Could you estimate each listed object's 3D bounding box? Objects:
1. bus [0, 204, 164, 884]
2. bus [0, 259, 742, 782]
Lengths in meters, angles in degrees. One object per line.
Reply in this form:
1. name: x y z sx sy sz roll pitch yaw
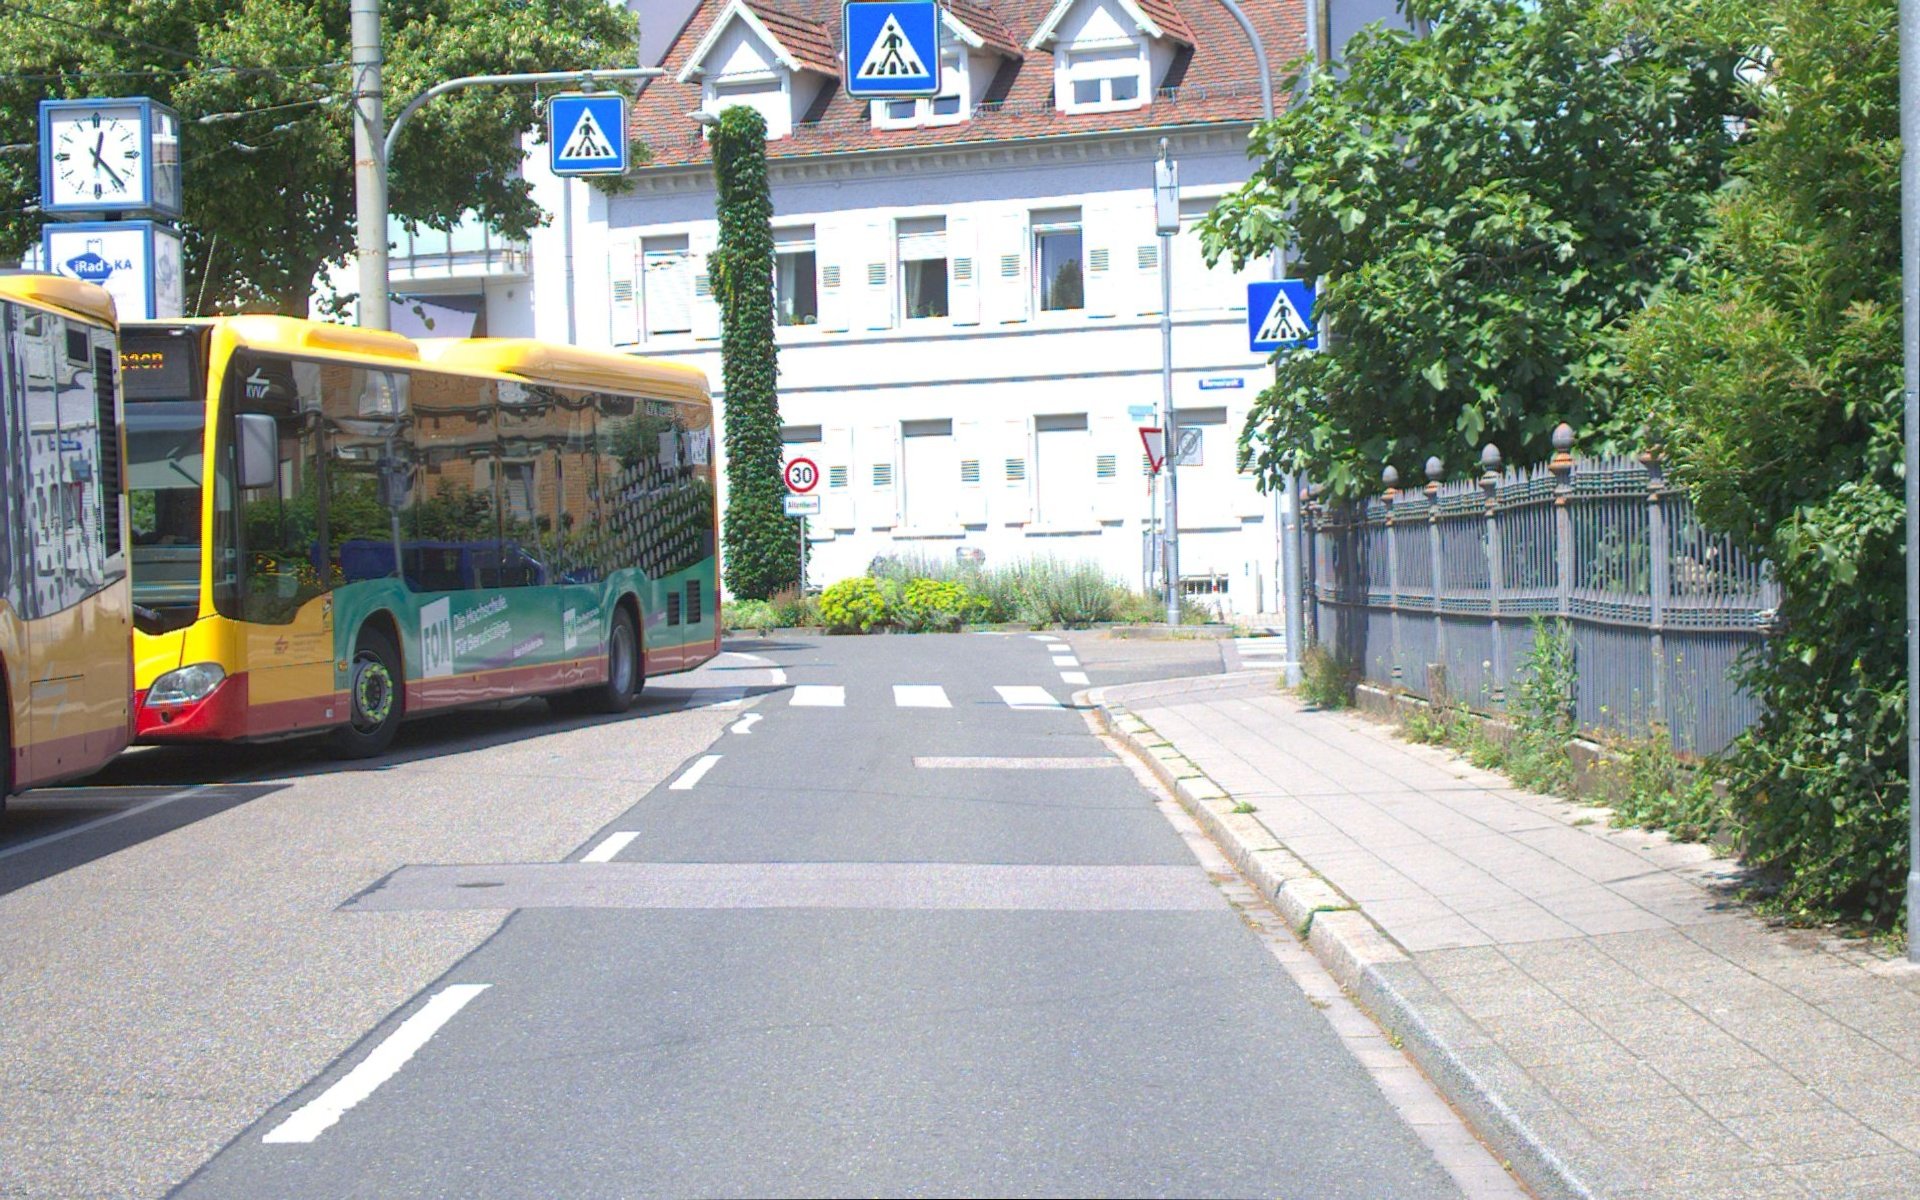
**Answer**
1. bus: -5.988 -0.254 13.784 2.907 3.237 12.119 1 0 -1
2. bus: -4.677 -0.663 27.324 2.781 3.197 12.301 1 2 11
